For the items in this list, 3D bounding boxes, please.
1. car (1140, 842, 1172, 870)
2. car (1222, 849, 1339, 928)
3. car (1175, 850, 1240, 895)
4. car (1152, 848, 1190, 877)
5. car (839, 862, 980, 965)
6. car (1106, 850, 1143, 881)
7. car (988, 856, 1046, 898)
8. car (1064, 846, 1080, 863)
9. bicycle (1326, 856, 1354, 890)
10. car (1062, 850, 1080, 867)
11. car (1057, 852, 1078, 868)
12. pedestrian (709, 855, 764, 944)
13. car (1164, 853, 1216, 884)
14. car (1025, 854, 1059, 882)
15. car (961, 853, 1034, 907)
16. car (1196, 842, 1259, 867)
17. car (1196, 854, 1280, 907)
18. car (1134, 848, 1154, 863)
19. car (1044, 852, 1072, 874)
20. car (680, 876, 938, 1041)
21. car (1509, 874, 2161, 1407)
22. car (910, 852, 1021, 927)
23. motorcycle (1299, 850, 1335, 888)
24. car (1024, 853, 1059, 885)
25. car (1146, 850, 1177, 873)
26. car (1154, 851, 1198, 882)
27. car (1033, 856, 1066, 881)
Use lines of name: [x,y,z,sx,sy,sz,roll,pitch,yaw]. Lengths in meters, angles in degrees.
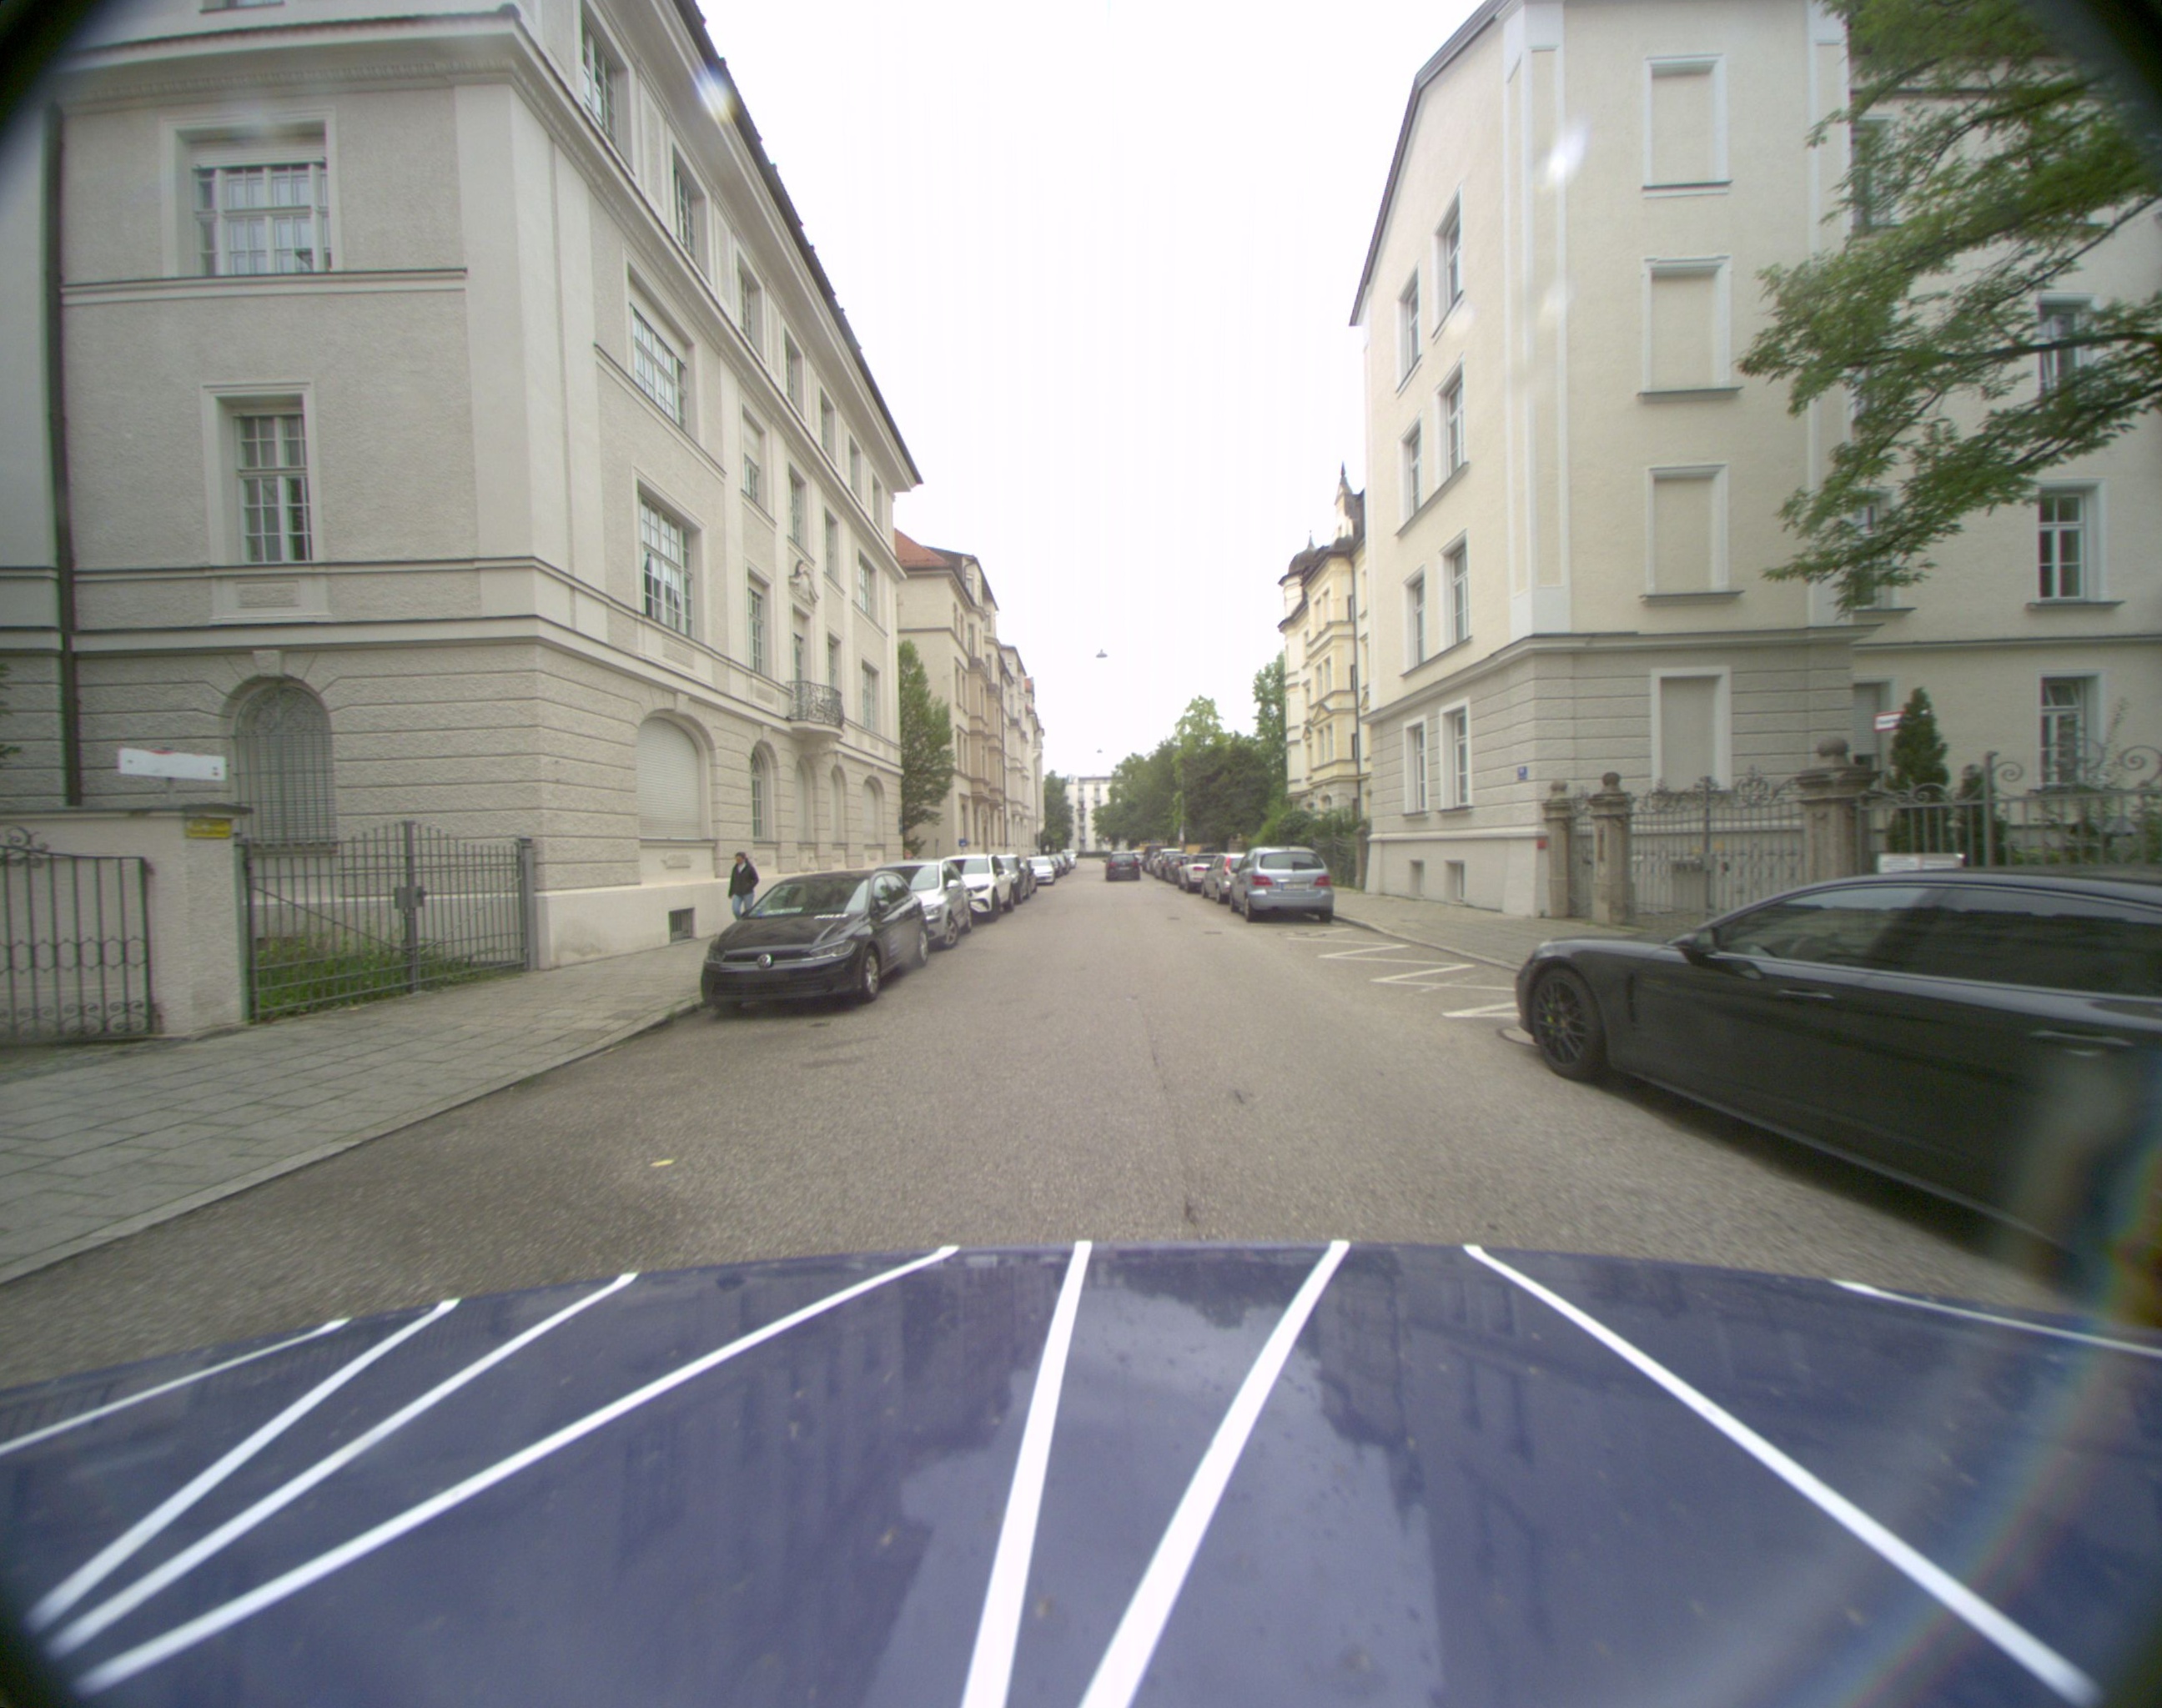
car: [5.385,0.102,55.046,1.917,1.876,4.816,0,1,1]
car: [4.373,0.689,17.289,1.700,1.571,4.062,1,0,2]
car: [4.621,0.628,28.215,1.801,1.426,4.079,-2,1,1]
car: [5.325,0.445,45.541,1.810,1.638,4.485,0,1,1]
car: [-3.012,0.977,14.165,1.712,1.492,3.999,-2,1,-1]
car: [2.284,0.585,41.040,1.728,1.525,4.085,-1,0,0]
car: [-2.426,0.831,29.667,1.715,1.443,4.225,-2,0,2]
car: [-1.138,0.033,94.113,1.794,1.926,4.084,-3,1,-1]
bicycle: [8.713,0.615,25.634,0.432,1.055,1.420,-5,1,3]
car: [-0.984,0.429,75.106,1.715,1.462,4.084,-3,0,-1]
car: [-1.238,0.546,69.964,1.715,1.382,4.000,-3,0,2]
pedestrian: [-6.696,0.868,14.813,0.684,1.669,0.812,1,1,1]
car: [5.030,0.635,35.585,1.739,1.357,4.192,0,0,-1]
car: [-2.261,0.784,44.786,1.796,1.489,4.082,-4,0,-2]
car: [-2.630,0.787,24.796,1.753,1.516,4.170,-2,1,2]
car: [11.521,0.031,59.968,4.520,1.847,2.054,-1,1,-5]
car: [4.629,0.724,22.982,1.649,1.395,3.999,1,1,-1]
car: [6.455,0.101,78.287,1.705,1.484,3.955,0,0,0]
car: [-1.635,0.624,54.966,1.645,1.409,4.000,-2,1,2]
car: [-3.019,1.073,9.380,1.616,1.387,4.000,-3,1,1]
car: [3.991,0.869,3.055,1.854,1.359,4.701,-2,1,0]
car: [-2.746,0.808,19.132,1.900,1.626,4.392,-1,0,3]
motorcycle: [8.506,0.528,27.414,0.706,1.242,1.820,-3,1,1]
car: [-2.025,0.751,39.865,1.667,1.499,4.064,-2,0,-1]
car: [5.317,0.478,50.646,1.646,1.422,3.919,1,1,1]
car: [4.939,0.610,40.036,1.773,1.412,3.998,-1,1,-1]
car: [-2.043,0.928,49.787,1.746,1.390,4.022,-4,1,2]
